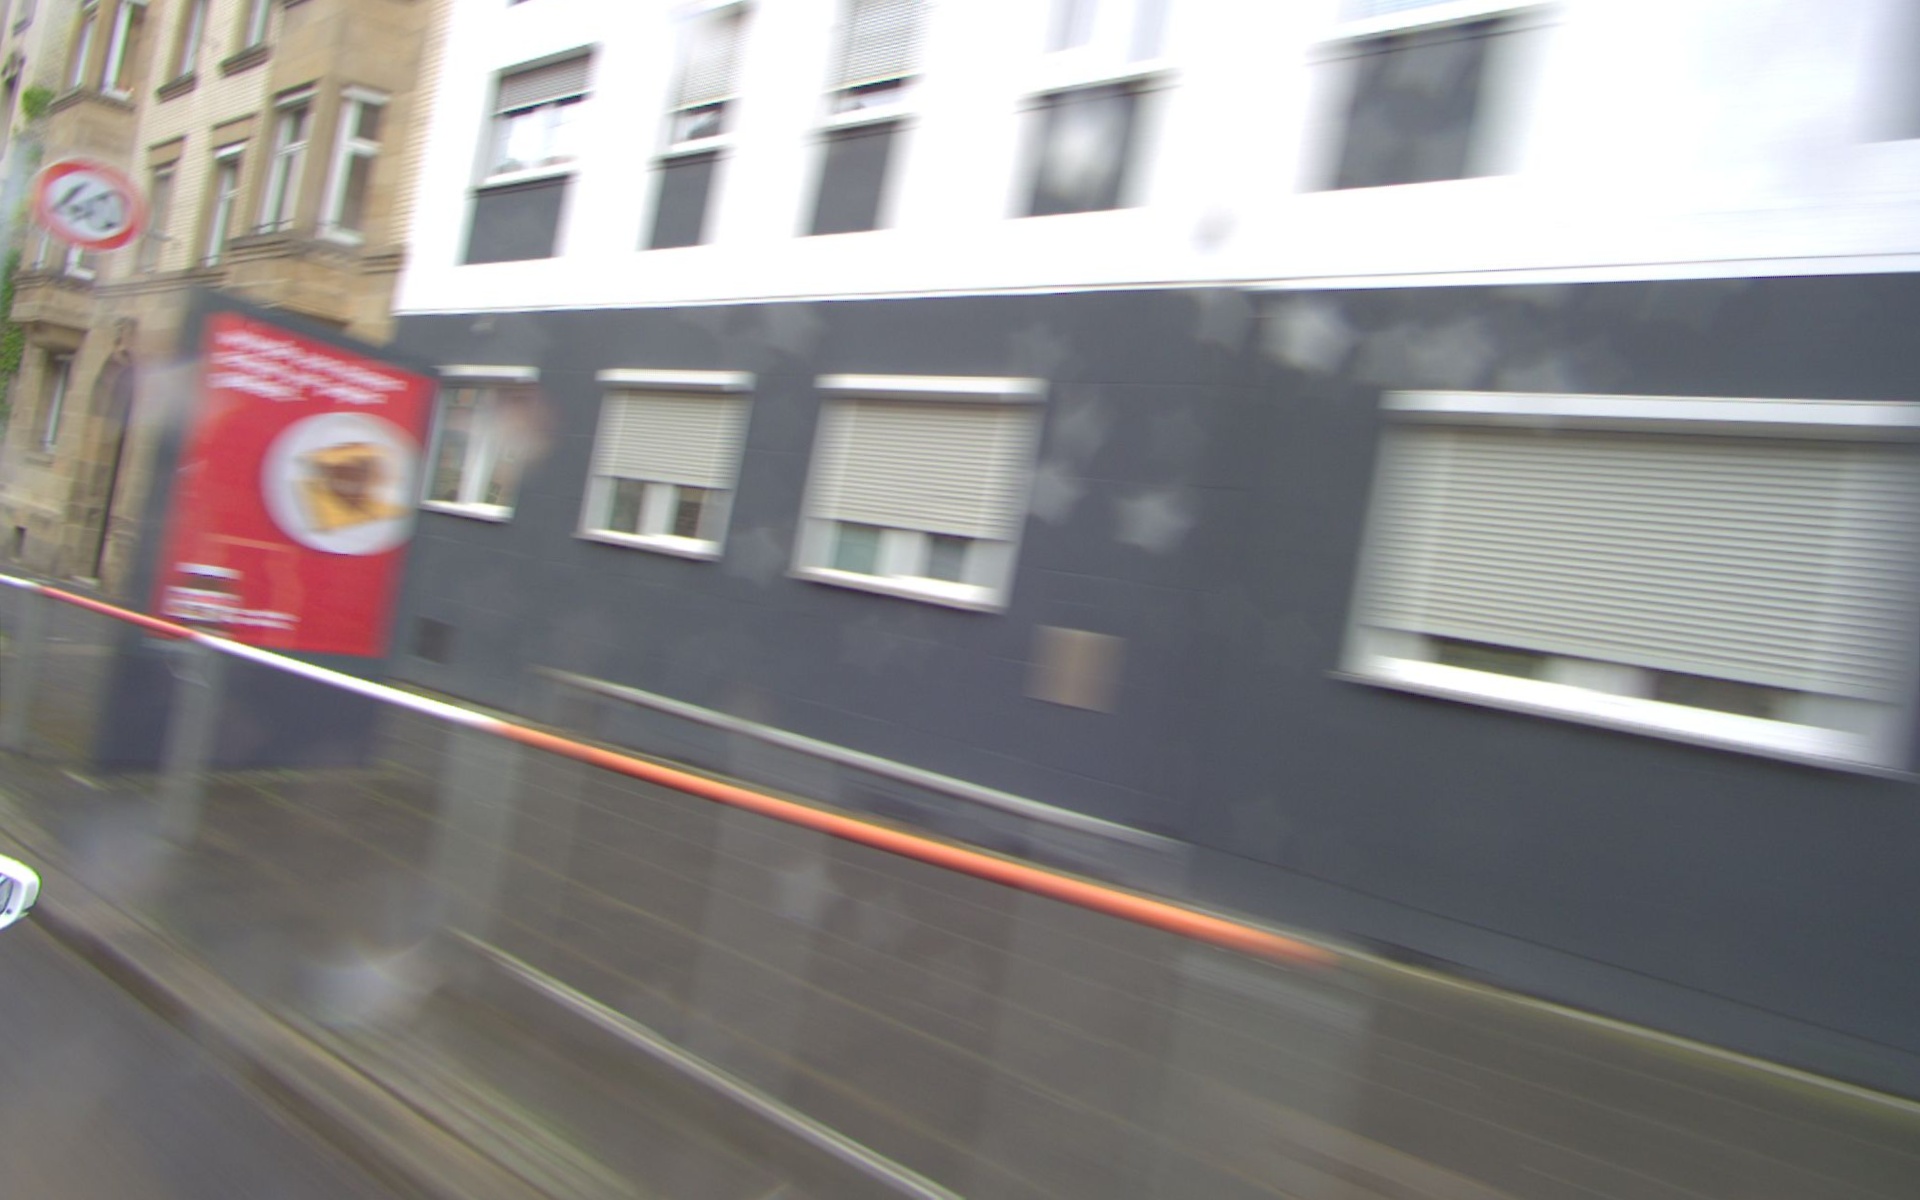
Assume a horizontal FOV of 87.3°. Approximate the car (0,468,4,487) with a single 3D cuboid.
[{"bbox_3d":[-11.778,-0.748,10.336,4.411,1.827,1.773,7,-3,35],"label":"car"}]
